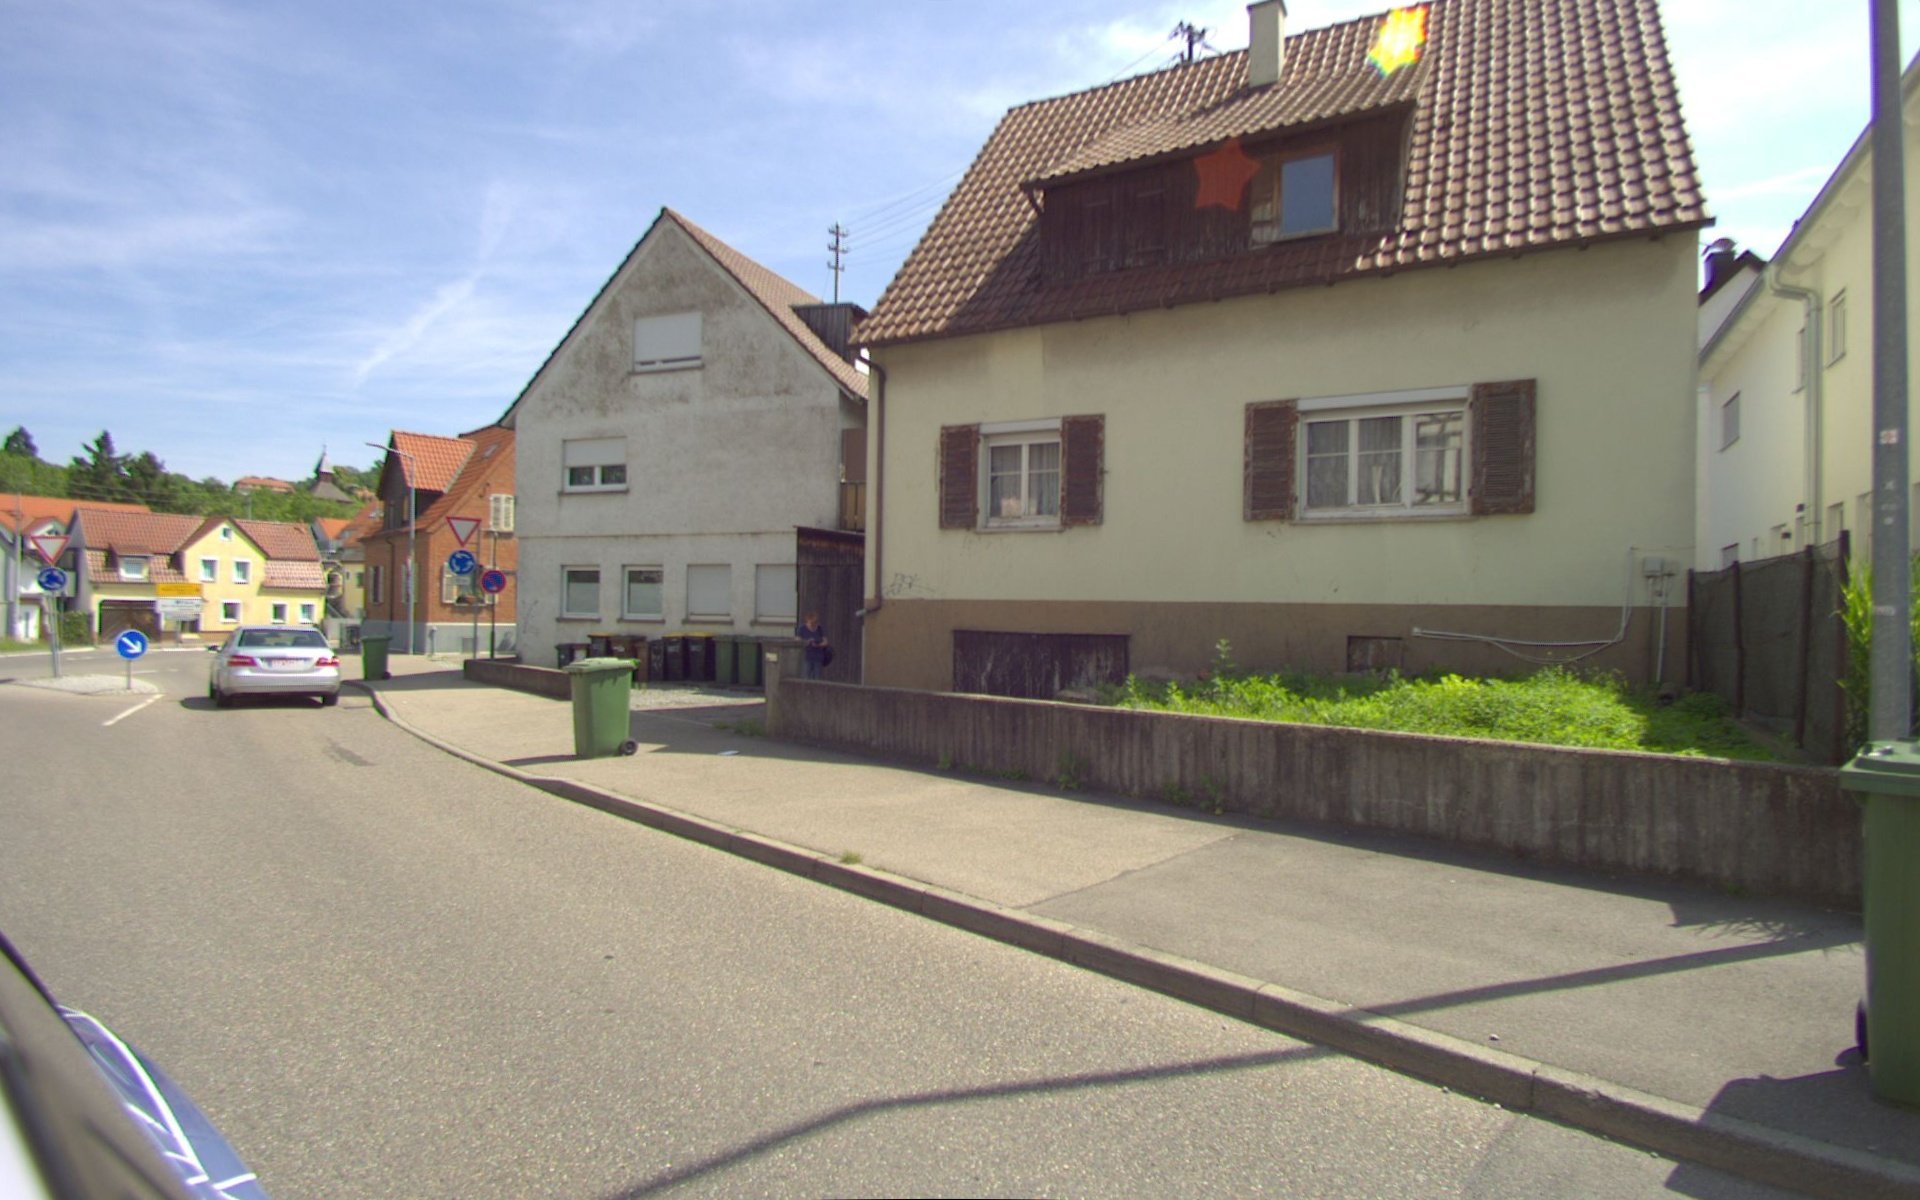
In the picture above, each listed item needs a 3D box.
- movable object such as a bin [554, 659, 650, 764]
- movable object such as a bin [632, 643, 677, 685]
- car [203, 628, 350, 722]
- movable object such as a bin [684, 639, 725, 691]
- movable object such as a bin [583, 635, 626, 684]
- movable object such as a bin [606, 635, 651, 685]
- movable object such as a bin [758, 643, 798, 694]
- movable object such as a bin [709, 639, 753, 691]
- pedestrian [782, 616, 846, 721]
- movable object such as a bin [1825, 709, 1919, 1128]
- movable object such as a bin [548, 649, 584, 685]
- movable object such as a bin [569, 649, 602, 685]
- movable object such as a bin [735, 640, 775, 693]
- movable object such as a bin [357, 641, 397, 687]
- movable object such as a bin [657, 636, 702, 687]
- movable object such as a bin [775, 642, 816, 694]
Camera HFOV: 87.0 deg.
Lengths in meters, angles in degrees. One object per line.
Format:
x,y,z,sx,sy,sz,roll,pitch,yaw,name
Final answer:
-3.917,1.195,11.094,0.651,1.065,0.782,-2,-2,43,movable object such as a bin
-6.906,1.444,22.894,0.693,0.903,0.680,-1,-1,21,movable object such as a bin
-12.935,1.296,19.034,1.930,1.497,4.467,1,-1,-39,car
-5.642,1.426,22.369,0.621,1.090,0.680,-1,-1,20,movable object such as a bin
-8.217,1.375,23.395,0.640,1.094,0.680,-1,-1,20,movable object such as a bin
-7.583,1.362,23.152,0.693,1.094,0.680,-1,-1,21,movable object such as a bin
-3.887,1.462,21.609,0.599,1.043,0.625,-1,-1,20,movable object such as a bin
-5.008,1.416,22.133,0.655,1.090,0.736,-1,-1,20,movable object such as a bin
-2.287,1.054,15.869,0.627,1.586,0.769,-1,-1,38,pedestrian
3.099,0.911,2.909,0.816,1.085,0.819,0,-1,-43,movable object such as a bin
-9.289,1.569,23.875,0.642,0.811,0.483,-1,-1,23,movable object such as a bin
-8.749,1.561,23.637,0.523,0.786,0.483,-1,-1,21,movable object such as a bin
-4.435,1.423,21.867,0.579,1.090,0.676,-1,-1,20,movable object such as a bin
-14.044,1.528,24.378,0.797,1.053,0.829,0,-1,-33,movable object such as a bin
-6.270,1.357,22.627,0.693,1.090,0.680,-1,-1,21,movable object such as a bin
-3.421,1.412,21.097,0.608,1.042,0.626,-1,-1,20,movable object such as a bin
